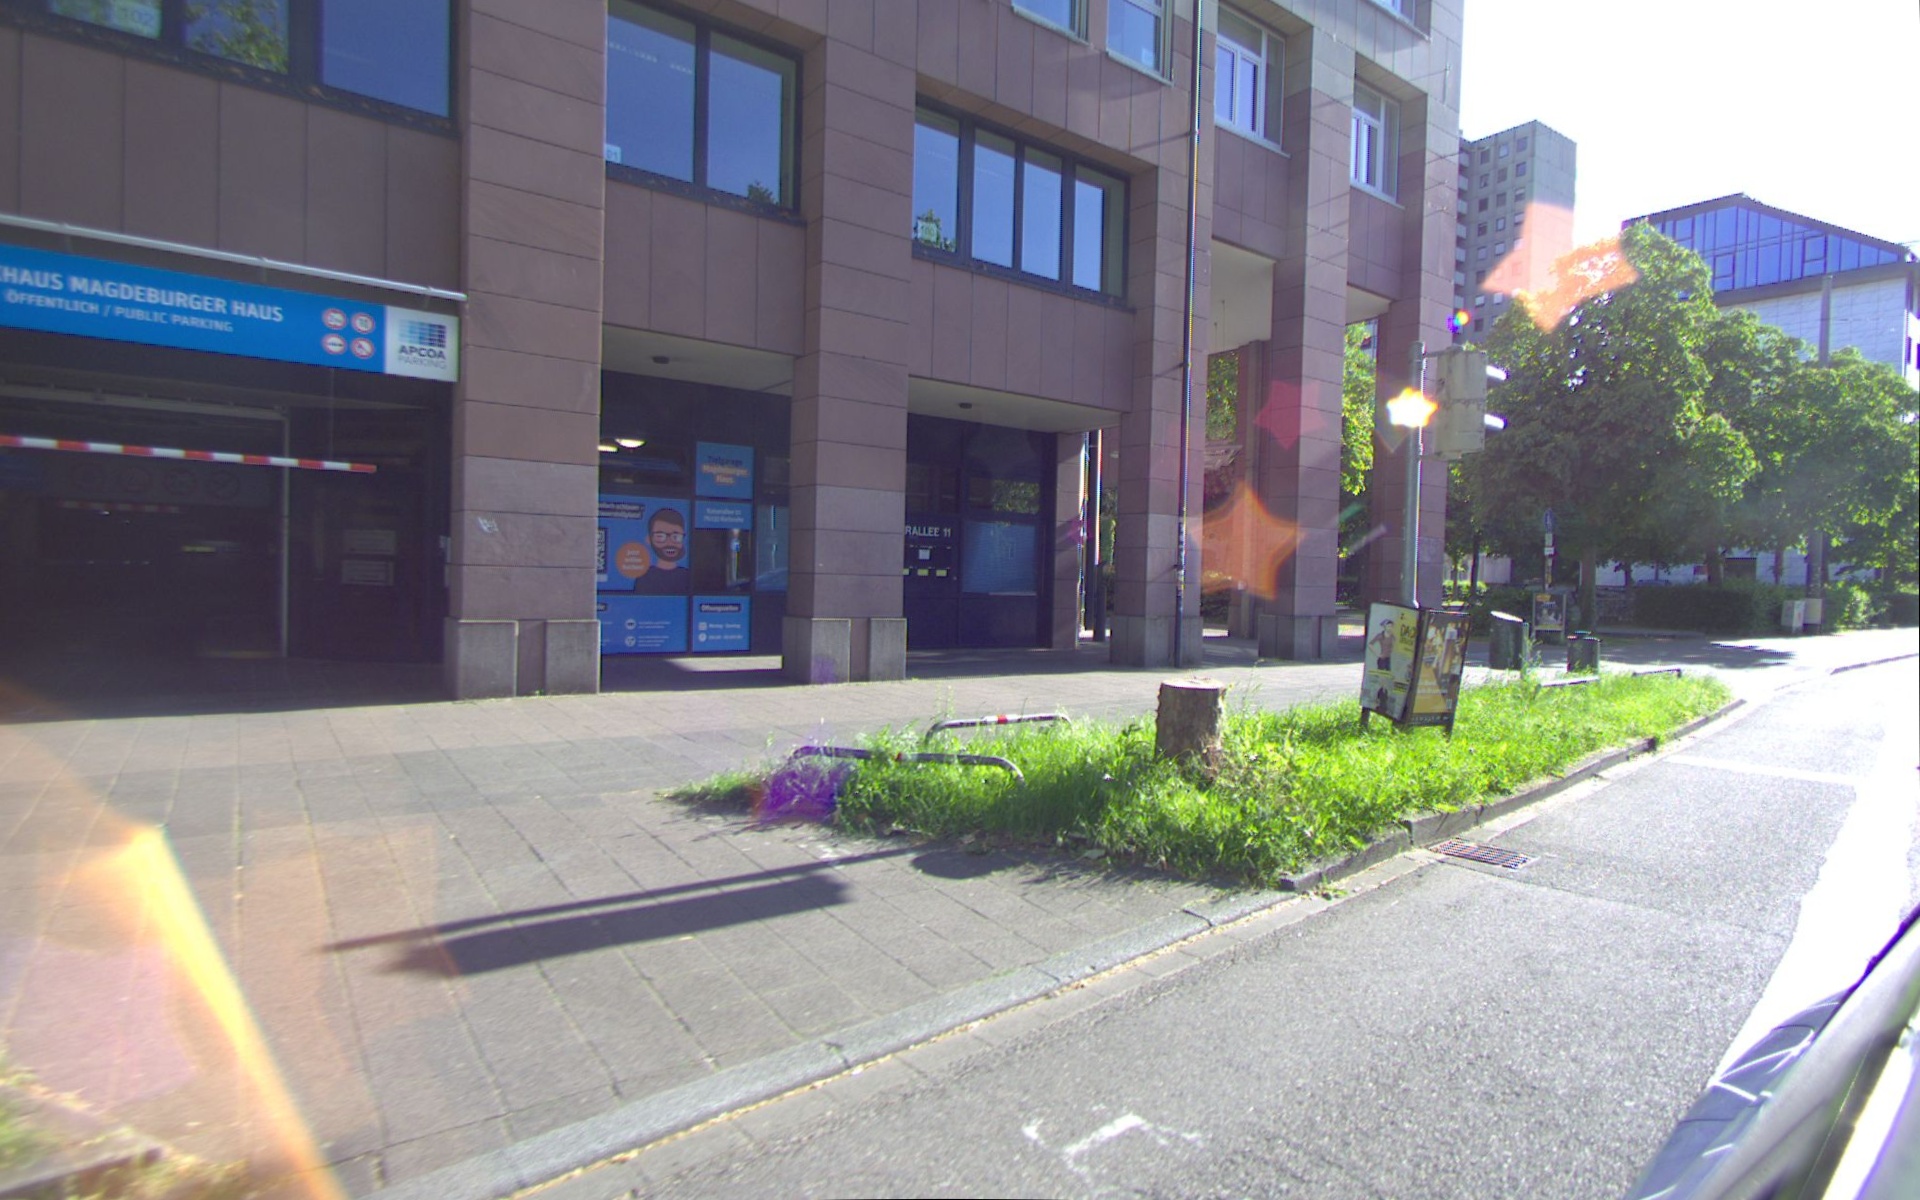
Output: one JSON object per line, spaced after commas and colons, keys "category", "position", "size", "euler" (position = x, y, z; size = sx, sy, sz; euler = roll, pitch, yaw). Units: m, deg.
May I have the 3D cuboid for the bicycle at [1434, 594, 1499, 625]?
{"category": "bicycle", "position": [14.684, 0.261, 29.376], "size": [1.659, 0.873, 0.318], "euler": [1, 0, 25]}
